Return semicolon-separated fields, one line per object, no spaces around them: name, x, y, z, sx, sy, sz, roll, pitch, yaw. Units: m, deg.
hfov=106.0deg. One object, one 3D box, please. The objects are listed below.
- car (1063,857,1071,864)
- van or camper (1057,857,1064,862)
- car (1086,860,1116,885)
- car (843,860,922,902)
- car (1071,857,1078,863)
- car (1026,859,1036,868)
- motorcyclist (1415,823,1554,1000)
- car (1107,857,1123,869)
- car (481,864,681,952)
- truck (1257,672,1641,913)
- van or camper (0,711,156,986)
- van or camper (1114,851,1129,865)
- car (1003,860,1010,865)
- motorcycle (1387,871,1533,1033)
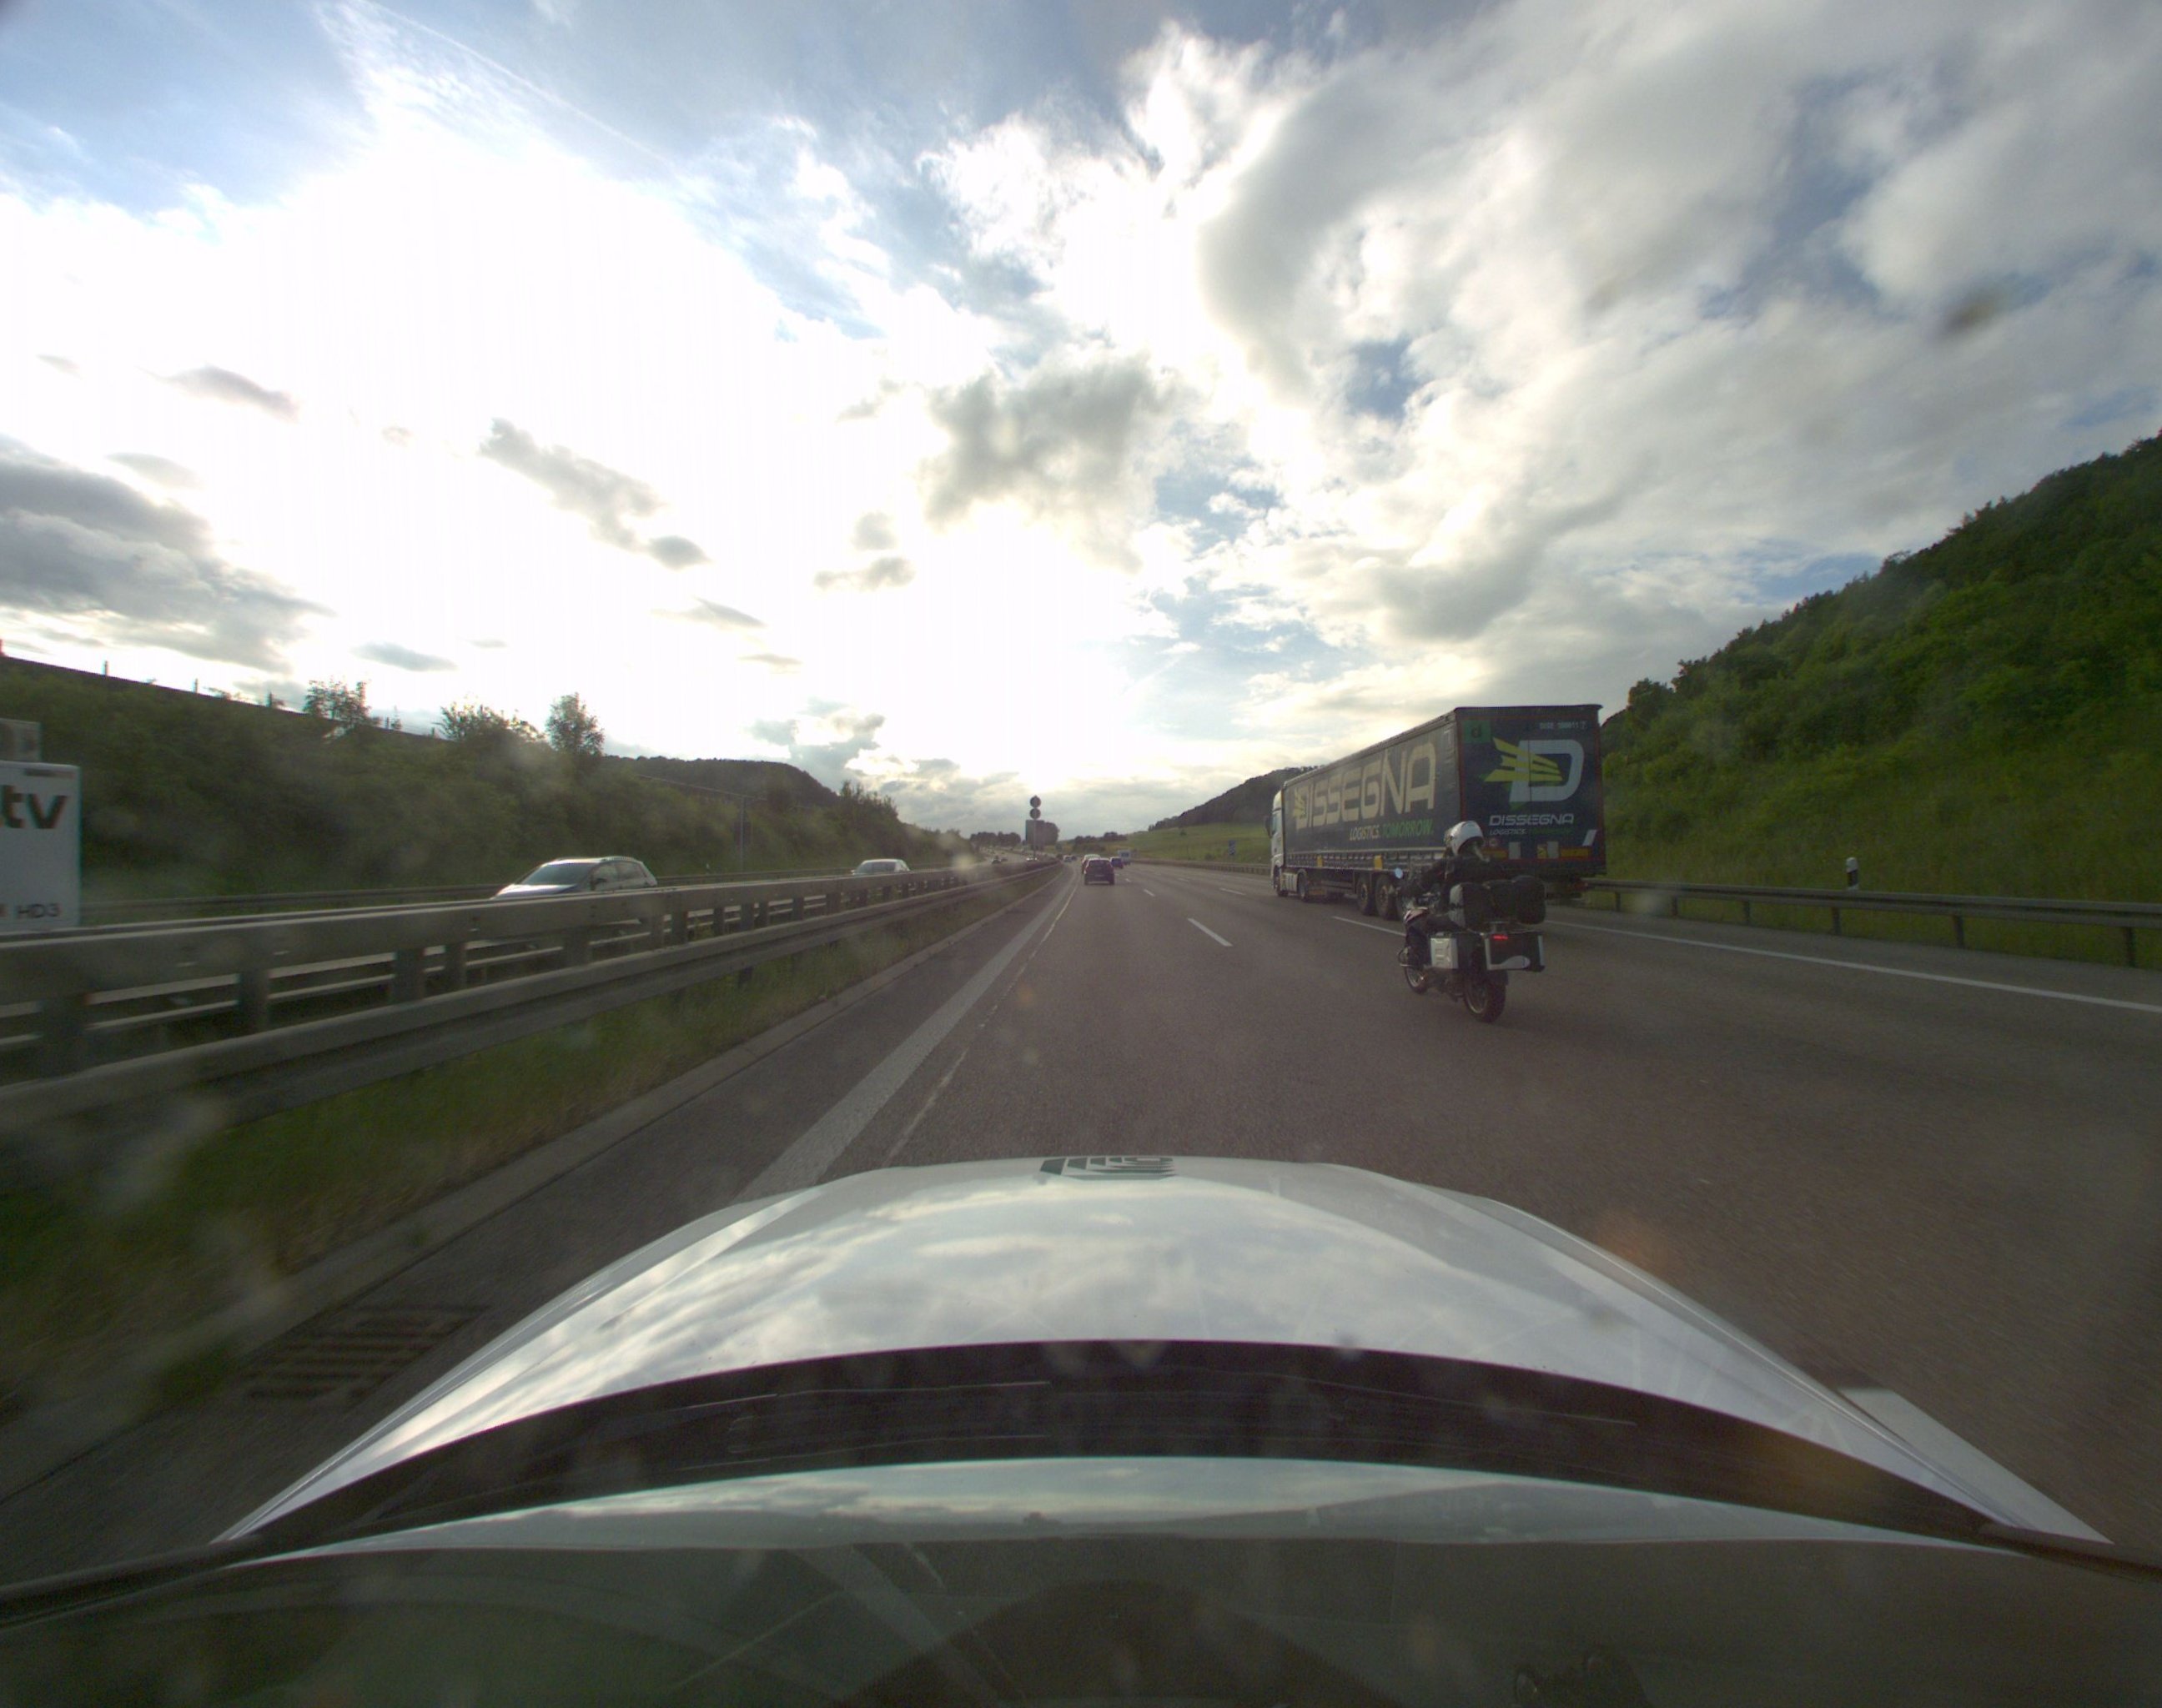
car;-3.248;1.474;188.912;1.763;1.433;3.994;-1;0;-4
van or camper;-5.704;1.446;227.729;1.960;1.433;3.999;0;0;-1
car;1.160;1.008;45.752;1.532;1.348;3.680;-1;0;3
car;-7.060;0.926;29.329;1.773;1.409;3.765;-1;0;3
car;-1.759;1.626;222.835;1.950;1.574;4.002;-1;0;2
car;-9.957;1.869;161.716;1.828;1.591;5.016;0;-1;-1
motorcyclist;3.619;0.496;7.379;0.873;1.515;0.798;0;-1;3
car;4.151;1.089;100.001;1.761;1.433;3.999;0;0;0
car;-10.723;1.062;17.888;1.637;1.656;4.345;0;0;1
truck;8.058;-0.998;22.471;2.953;3.992;17.737;-1;0;1
van or camper;-15.210;-0.072;8.232;2.473;3.551;7.979;-1;0;1
van or camper;7.023;0.660;140.600;2.537;2.239;5.333;-1;0;3
car;-19.687;2.275;215.267;1.702;1.415;3.996;0;-1;-3
motorcycle;3.545;0.847;7.790;0.625;1.339;1.740;-1;0;2
